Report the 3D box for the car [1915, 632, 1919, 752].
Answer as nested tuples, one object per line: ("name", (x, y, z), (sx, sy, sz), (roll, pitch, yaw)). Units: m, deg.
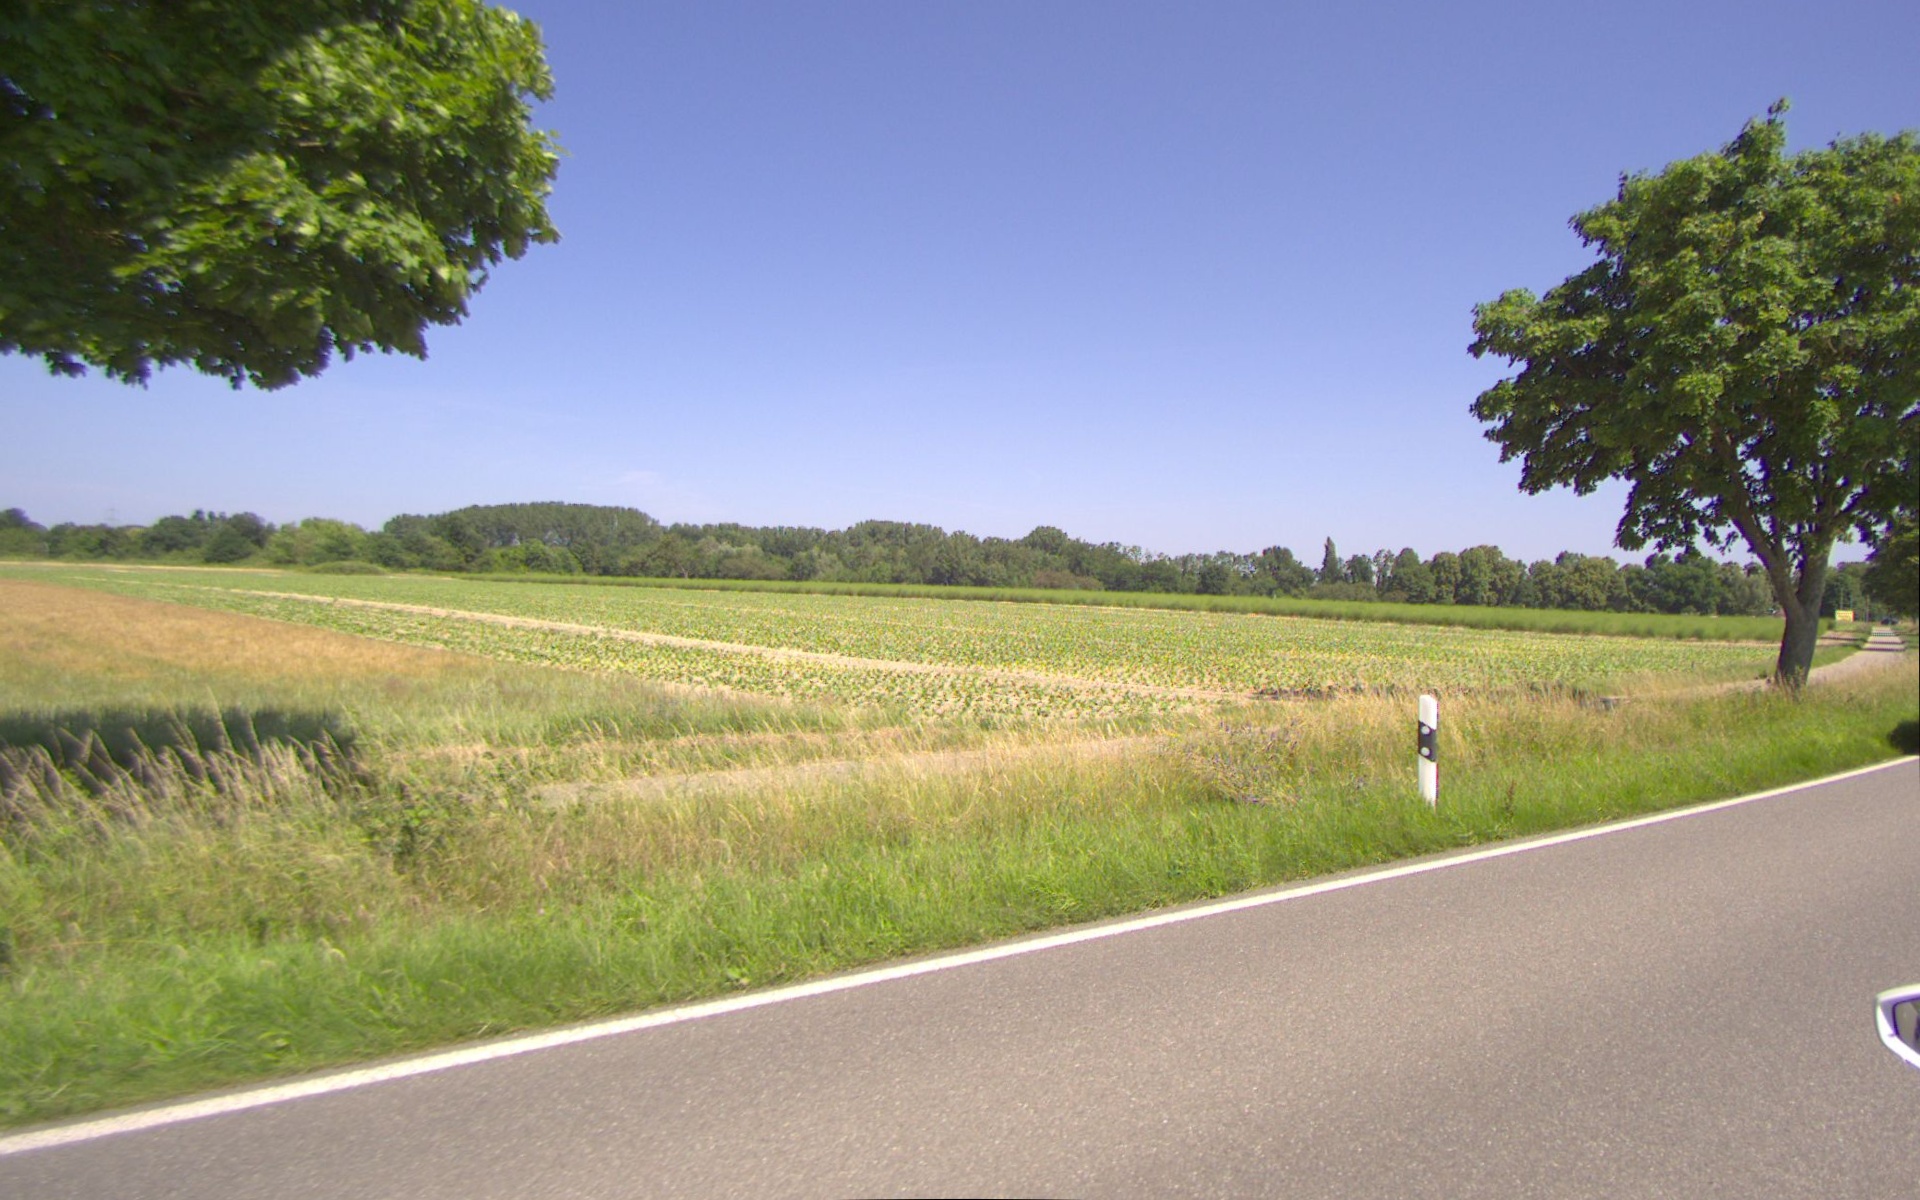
("car", (13.734, 1.144, 12.697), (4.139, 1.448, 1.633), (2, -2, -35))
